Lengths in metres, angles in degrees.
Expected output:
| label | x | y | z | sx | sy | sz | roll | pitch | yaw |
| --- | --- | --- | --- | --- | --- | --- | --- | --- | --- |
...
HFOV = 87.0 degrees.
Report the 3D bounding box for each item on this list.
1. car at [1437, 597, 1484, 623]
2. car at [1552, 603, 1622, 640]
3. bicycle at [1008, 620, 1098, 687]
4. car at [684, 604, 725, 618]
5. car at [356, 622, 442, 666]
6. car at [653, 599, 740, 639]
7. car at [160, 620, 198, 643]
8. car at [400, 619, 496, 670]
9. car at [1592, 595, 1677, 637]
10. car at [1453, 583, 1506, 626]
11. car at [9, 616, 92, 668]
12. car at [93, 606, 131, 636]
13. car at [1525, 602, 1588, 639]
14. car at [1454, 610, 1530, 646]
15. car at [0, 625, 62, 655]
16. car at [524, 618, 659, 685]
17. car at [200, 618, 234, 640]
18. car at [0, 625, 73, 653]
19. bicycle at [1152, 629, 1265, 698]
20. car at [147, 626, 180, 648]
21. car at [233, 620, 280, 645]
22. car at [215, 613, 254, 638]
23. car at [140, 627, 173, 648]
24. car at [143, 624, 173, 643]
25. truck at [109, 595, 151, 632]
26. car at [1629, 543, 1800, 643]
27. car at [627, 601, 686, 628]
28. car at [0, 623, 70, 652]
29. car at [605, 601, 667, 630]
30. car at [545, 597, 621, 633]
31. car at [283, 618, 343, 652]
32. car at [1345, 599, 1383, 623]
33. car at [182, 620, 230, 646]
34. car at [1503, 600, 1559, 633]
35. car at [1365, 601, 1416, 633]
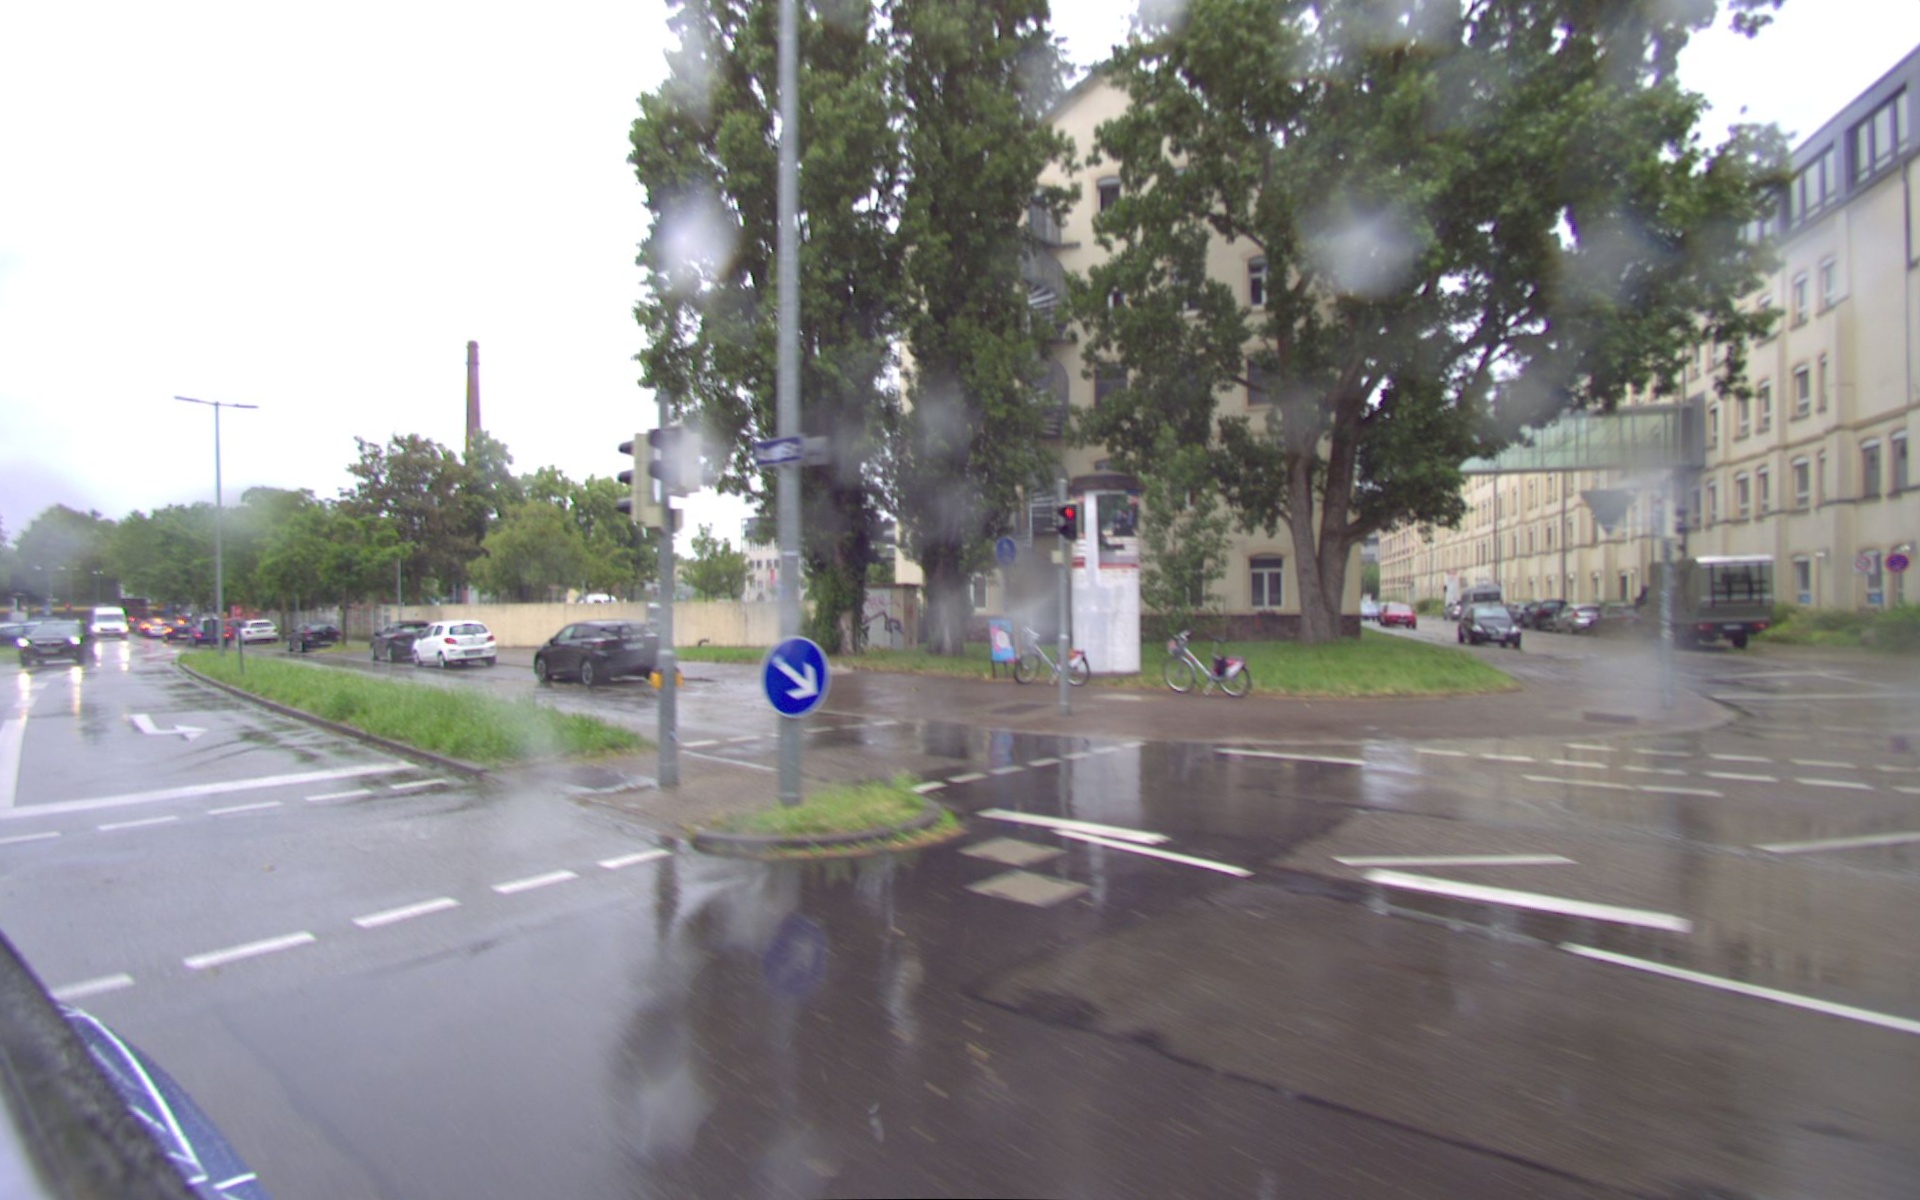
| label | x | y | z | sx | sy | sz | roll | pitch | yaw |
| --- | --- | --- | --- | --- | --- | --- | --- | --- | --- |
| car | 38.752 | 0.740 | 78.522 | 2.317 | 1.824 | 5.584 | -1 | 0 | 17 |
| car | 30.463 | 1.013 | 49.293 | 1.877 | 1.694 | 3.979 | -1 | 0 | 16 |
| bicycle | 1.768 | 0.998 | 19.426 | 1.624 | 1.195 | 0.690 | -1 | 0 | 42 |
| car | -28.919 | 1.272 | 114.551 | 3.966 | 1.453 | 1.989 | -1 | 0 | 17 |
| car | -20.534 | 1.554 | 36.966 | 1.707 | 1.393 | 4.184 | -3 | 2 | -43 |
| car | -13.843 | 0.978 | 53.260 | 3.958 | 2.007 | 1.993 | -1 | 0 | 12 |
| car | -53.623 | 2.149 | 69.438 | 1.685 | 1.512 | 3.950 | 3 | -2 | -42 |
| car | -16.711 | 1.387 | 32.929 | 1.584 | 1.485 | 4.125 | -1 | 0 | -45 |
| car | 29.012 | 0.659 | 43.667 | 1.877 | 1.669 | 3.979 | -1 | 0 | 16 |
| car | 36.435 | 0.288 | 71.092 | 2.317 | 2.893 | 5.584 | -1 | 0 | 17 |
| car | -31.654 | 1.403 | 35.307 | 1.803 | 1.641 | 4.009 | -1 | 0 | -37 |
| car | -66.691 | 1.618 | 79.526 | 2.162 | 2.272 | 4.891 | -1 | 0 | -41 |
| car | 31.938 | 1.089 | 54.305 | 1.983 | 1.829 | 3.978 | -1 | 0 | 17 |
| car | 20.861 | 1.072 | 39.844 | 1.891 | 1.279 | 4.074 | -1 | 0 | 17 |
| car | -49.772 | 2.152 | 53.299 | 3.705 | 1.466 | 1.803 | -1 | -2 | -42 |
| car | -9.068 | 1.195 | 24.727 | 1.526 | 1.408 | 4.198 | -2 | 1 | -44 |
| car | -53.420 | 2.095 | 72.756 | 1.669 | 1.465 | 3.724 | -1 | 0 | -40 |
| car | -54.402 | 2.283 | 59.078 | 3.865 | 1.492 | 1.860 | -1 | 0 | -41 |
| bicycle | 4.176 | 1.043 | 17.110 | 1.795 | 1.085 | 0.549 | -1 | 0 | 42 |
| car | -66.806 | 3.074 | 84.866 | 2.040 | 1.755 | 4.181 | -1 | 0 | -40 |
| car | -43.888 | 1.998 | 63.077 | 1.753 | 1.471 | 4.685 | -1 | 0 | -43 |
| car | -49.610 | 1.711 | 69.179 | 1.605 | 1.610 | 3.800 | -1 | 0 | -45 |
| car | -70.983 | 3.282 | 89.354 | 2.040 | 1.755 | 4.180 | -1 | 0 | -41 |
| car | -75.396 | 3.129 | 95.102 | 2.040 | 1.686 | 4.180 | -1 | 0 | -41 |
| truck | -105.518 | 1.702 | 128.638 | 3.776 | 4.418 | 10.801 | -1 | 0 | -41 |
| car | 26.662 | -0.230 | 36.132 | 2.813 | 3.218 | 6.184 | -1 | 0 | 16 |
| car | -23.512 | 1.100 | 78.344 | 3.968 | 2.029 | 1.988 | -1 | 0 | 19 |
| car | -56.111 | 2.248 | 60.848 | 3.865 | 1.627 | 1.694 | -1 | 0 | -41 |
| car | -24.031 | 1.136 | 75.128 | 3.966 | 2.029 | 1.989 | -1 | 0 | 18 |
| car | -26.321 | 1.029 | 70.712 | 4.682 | 2.414 | 2.137 | -1 | 0 | 19 |
| car | -30.486 | 1.606 | 47.642 | 1.675 | 1.456 | 4.102 | -2 | 1 | -42 |
| car | 32.342 | 0.849 | 81.142 | 2.317 | 1.824 | 5.584 | -1 | 0 | 17 |
| car | -43.017 | 1.870 | 57.688 | 1.706 | 1.404 | 3.954 | 3 | -3 | -43 |
| car | 33.614 | 0.933 | 59.688 | 1.983 | 1.829 | 3.978 | -1 | 0 | 17 |
| car | 26.909 | 1.045 | 63.412 | 2.317 | 1.824 | 5.584 | -1 | 0 | 17 |
